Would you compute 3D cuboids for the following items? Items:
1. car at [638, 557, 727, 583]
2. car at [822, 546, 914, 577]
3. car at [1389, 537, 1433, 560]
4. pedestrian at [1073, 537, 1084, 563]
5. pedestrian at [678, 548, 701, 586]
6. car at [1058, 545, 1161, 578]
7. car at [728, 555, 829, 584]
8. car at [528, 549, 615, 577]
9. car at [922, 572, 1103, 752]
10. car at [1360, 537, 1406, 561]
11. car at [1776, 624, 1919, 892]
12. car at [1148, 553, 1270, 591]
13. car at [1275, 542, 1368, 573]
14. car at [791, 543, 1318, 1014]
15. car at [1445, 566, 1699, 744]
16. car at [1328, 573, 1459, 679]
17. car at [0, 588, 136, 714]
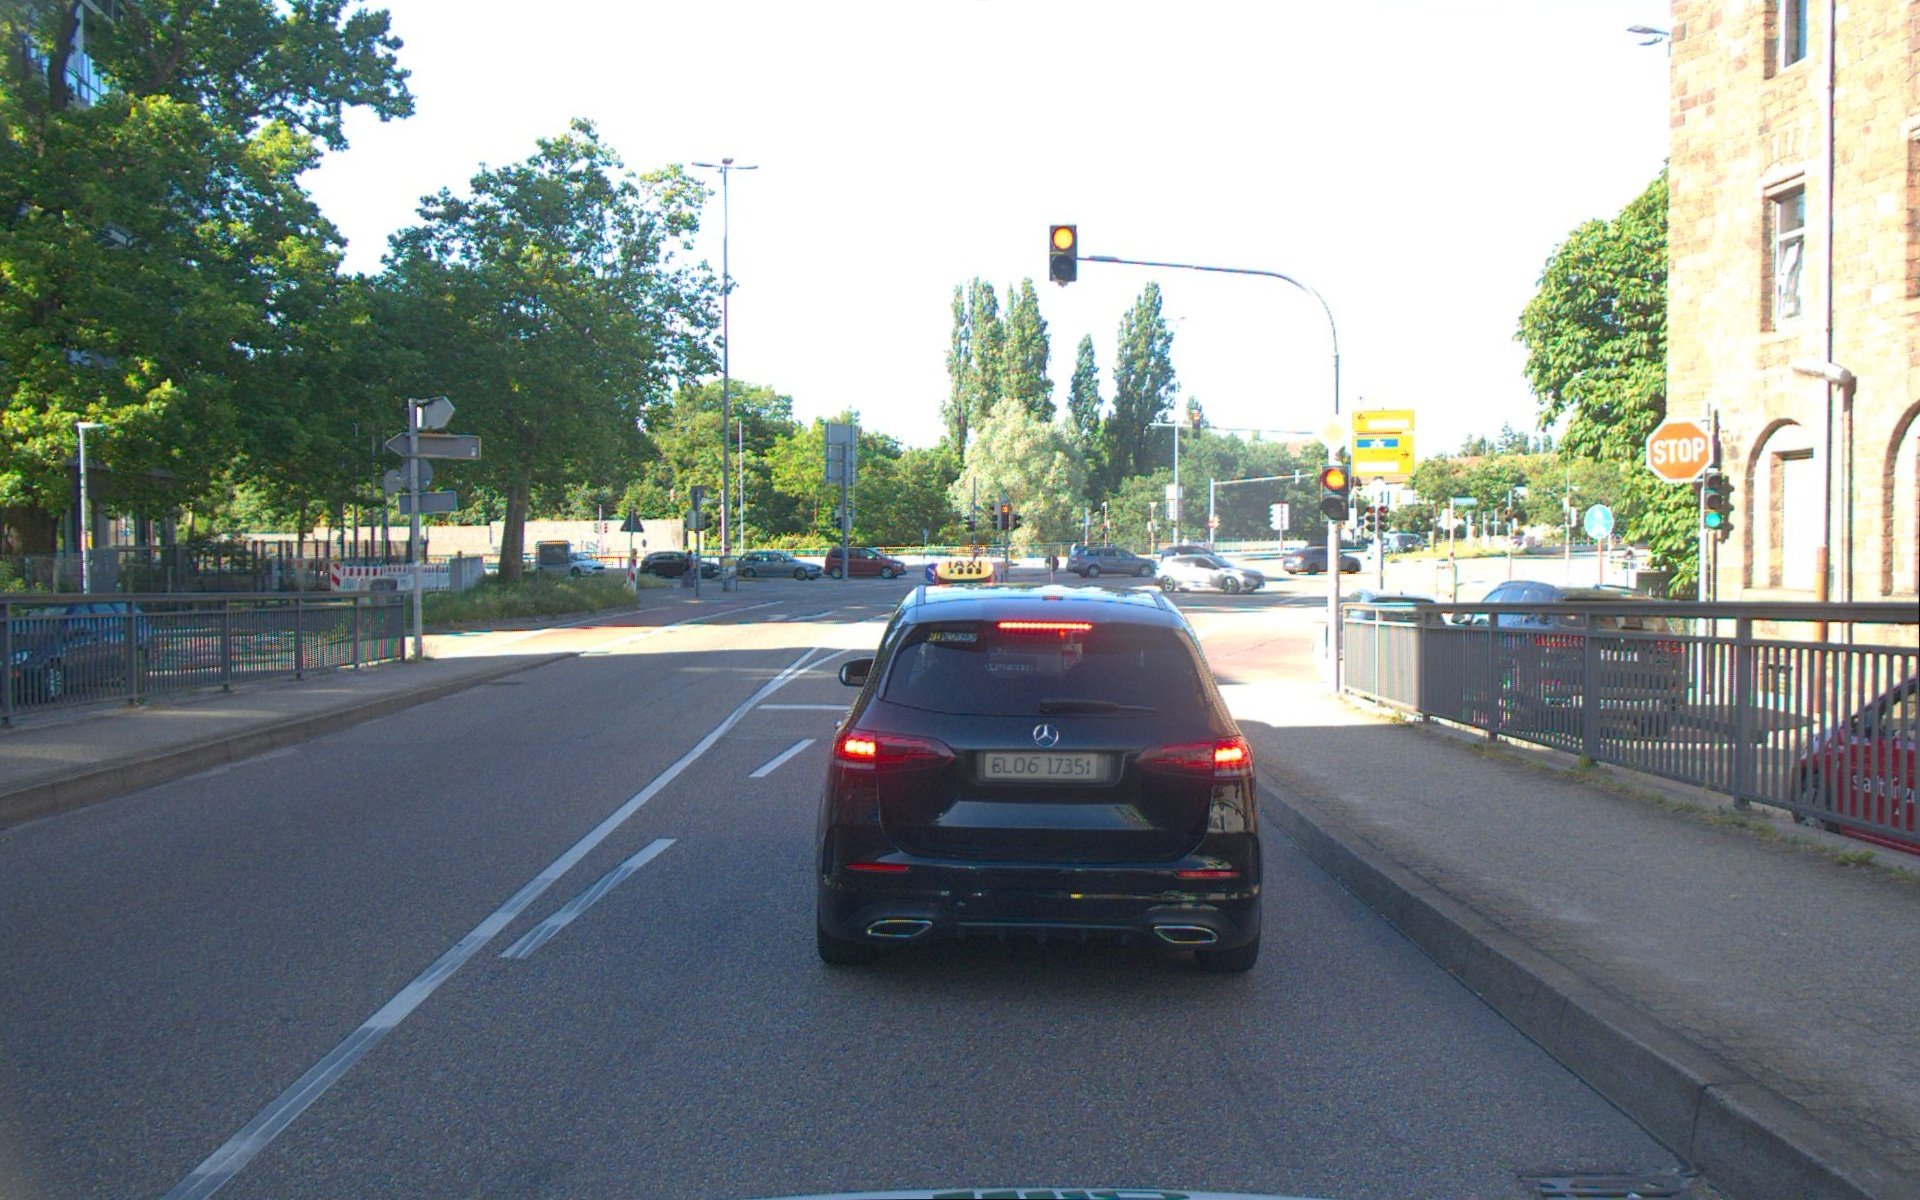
[{"bbox_3d":[-14.751,-1.593,87.747,4.495,1.317,1.883,0,3,31],"label":"car"},{"bbox_3d":[-4.718,-1.982,85.170,4.440,1.481,2.002,-1,3,7],"label":"car"},{"bbox_3d":[32.849,-3.742,120.379,1.846,1.605,3.987,1,2,35],"label":"car"},{"bbox_3d":[7.414,-3.117,103.345,0.443,1.613,0.499,0,2,40],"label":"pedestrian"},{"bbox_3d":[-11.103,-1.368,67.846,0.690,1.552,0.744,1,1,10],"label":"pedestrian"},{"bbox_3d":[7.415,-1.912,81.949,4.721,1.466,1.995,-2,3,-11],"label":"car"},{"bbox_3d":[-8.894,-1.505,81.243,4.481,1.317,2.002,-1,3,13],"label":"car"},{"bbox_3d":[-20.360,-1.939,86.669,4.221,1.389,1.996,0,3,31],"label":"car"},{"bbox_3d":[0.521,0.535,16.729,1.606,1.556,3.475,-1,2,1],"label":"car"},{"bbox_3d":[29.446,-3.555,115.170,1.846,1.605,3.987,1,2,35],"label":"car"},{"bbox_3d":[6.837,1.046,10.336,1.686,1.548,3.486,0,3,-1],"label":"car"},{"bbox_3d":[9.488,-1.075,63.117,4.145,1.317,1.994,1,3,35],"label":"car"},{"bbox_3d":[18.501,-2.198,84.628,4.207,1.466,1.994,-2,3,-13],"label":"car"},{"bbox_3d":[0.308,0.606,7.839,1.839,1.641,4.000,1,1,-1],"label":"car"},{"bbox_3d":[7.569,0.581,20.900,1.686,1.843,4.299,-1,3,1],"label":"car"},{"bbox_3d":[7.922,0.405,30.593,1.685,1.631,4.302,1,3,6],"label":"car"},{"bbox_3d":[-14.760,0.725,25.804,1.814,1.722,4.000,0,2,-1],"label":"car"}]
